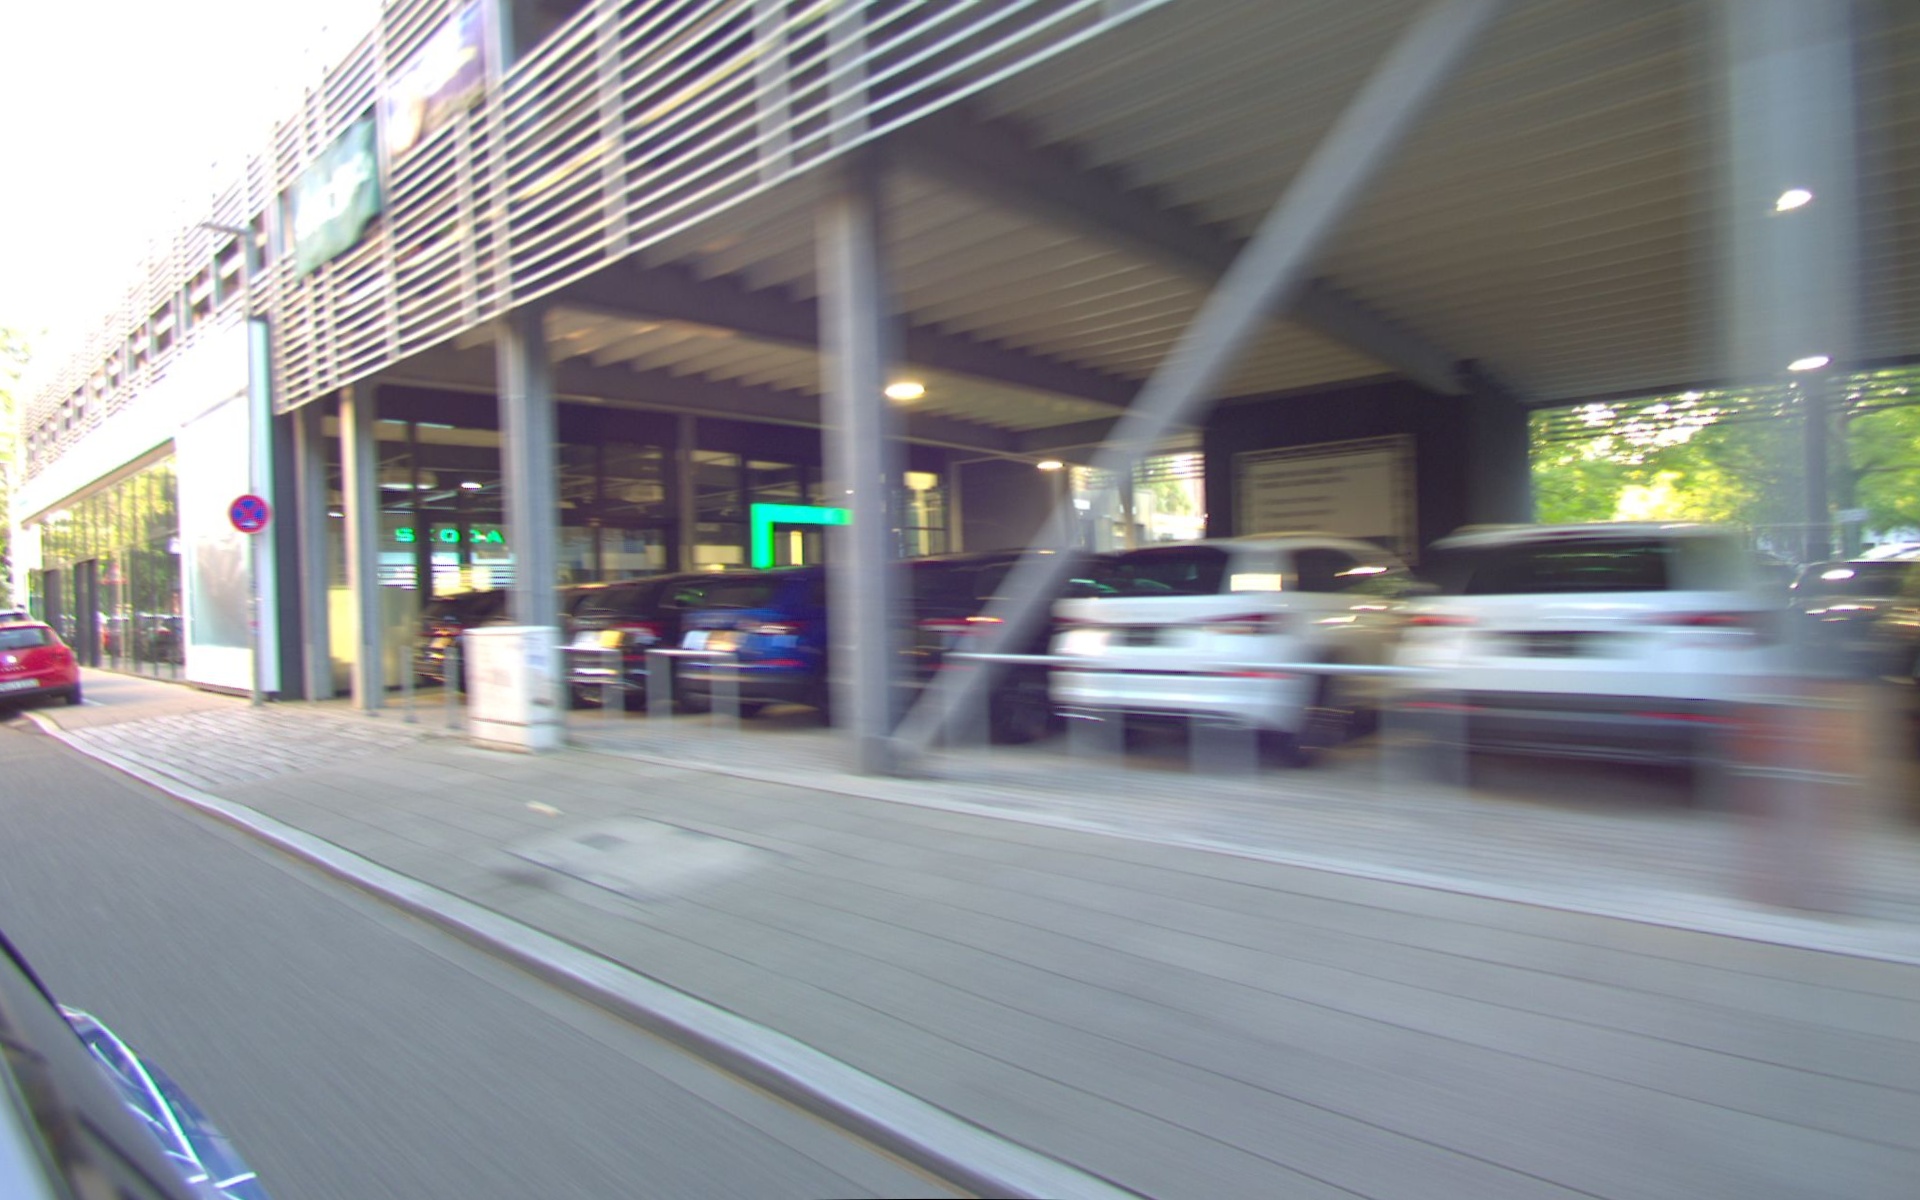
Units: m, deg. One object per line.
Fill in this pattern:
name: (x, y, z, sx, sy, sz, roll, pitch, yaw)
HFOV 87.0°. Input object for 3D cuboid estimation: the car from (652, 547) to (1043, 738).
car: (-1.075, 0.358, 11.107, 1.860, 1.696, 3.992, -3, 0, 42)

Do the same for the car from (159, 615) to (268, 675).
car: (-21.171, 1.257, 28.654, 3.992, 1.526, 1.680, -2, 0, 42)

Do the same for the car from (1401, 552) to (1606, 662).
car: (8.752, 0.072, 16.122, 1.860, 1.499, 4.290, -3, 0, 42)

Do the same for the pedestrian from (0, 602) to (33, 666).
pedestrian: (-28.440, 1.012, 30.454, 0.620, 1.892, 0.713, -3, -1, 42)

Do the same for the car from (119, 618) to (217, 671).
car: (-25.075, 1.387, 31.997, 4.190, 1.526, 1.680, -2, 0, 41)

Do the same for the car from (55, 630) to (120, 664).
car: (-36.963, 1.974, 42.860, 3.449, 1.303, 1.576, -2, 0, 41)

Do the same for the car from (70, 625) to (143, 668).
car: (-33.147, 1.800, 39.275, 3.874, 1.534, 1.576, -2, 0, 41)

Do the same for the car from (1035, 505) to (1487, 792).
car: (2.587, 0.266, 8.073, 1.860, 1.696, 3.983, -3, 0, 42)

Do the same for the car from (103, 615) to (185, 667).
car: (-28.568, 1.413, 35.397, 3.874, 1.662, 1.576, -2, 0, 41)

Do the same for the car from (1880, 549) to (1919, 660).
car: (16.379, -0.007, 16.583, 1.860, 1.696, 3.981, -3, 0, 42)

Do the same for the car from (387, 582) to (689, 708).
car: (-6.592, 0.627, 16.107, 1.860, 1.696, 4.000, -3, 0, 42)

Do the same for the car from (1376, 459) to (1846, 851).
car: (4.394, 0.216, 6.519, 1.860, 1.696, 4.040, -3, 0, 42)

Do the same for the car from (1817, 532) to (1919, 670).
car: (12.123, -0.047, 12.737, 1.860, 1.532, 4.161, -3, 0, 42)

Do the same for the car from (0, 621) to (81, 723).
car: (-15.933, 1.162, 16.669, 3.789, 1.517, 1.680, -2, 0, 41)

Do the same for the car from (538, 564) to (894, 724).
car: (-2.947, 0.449, 12.840, 1.860, 1.696, 3.992, -3, 0, 42)

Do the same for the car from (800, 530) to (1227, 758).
car: (0.701, 0.303, 9.690, 1.860, 1.696, 4.105, -3, 0, 42)

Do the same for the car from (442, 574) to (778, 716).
car: (-4.861, 0.542, 14.487, 1.860, 1.696, 4.121, -3, 0, 42)

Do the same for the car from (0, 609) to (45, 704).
car: (-19.824, 1.136, 20.295, 4.401, 1.769, 1.680, -2, 0, 41)
